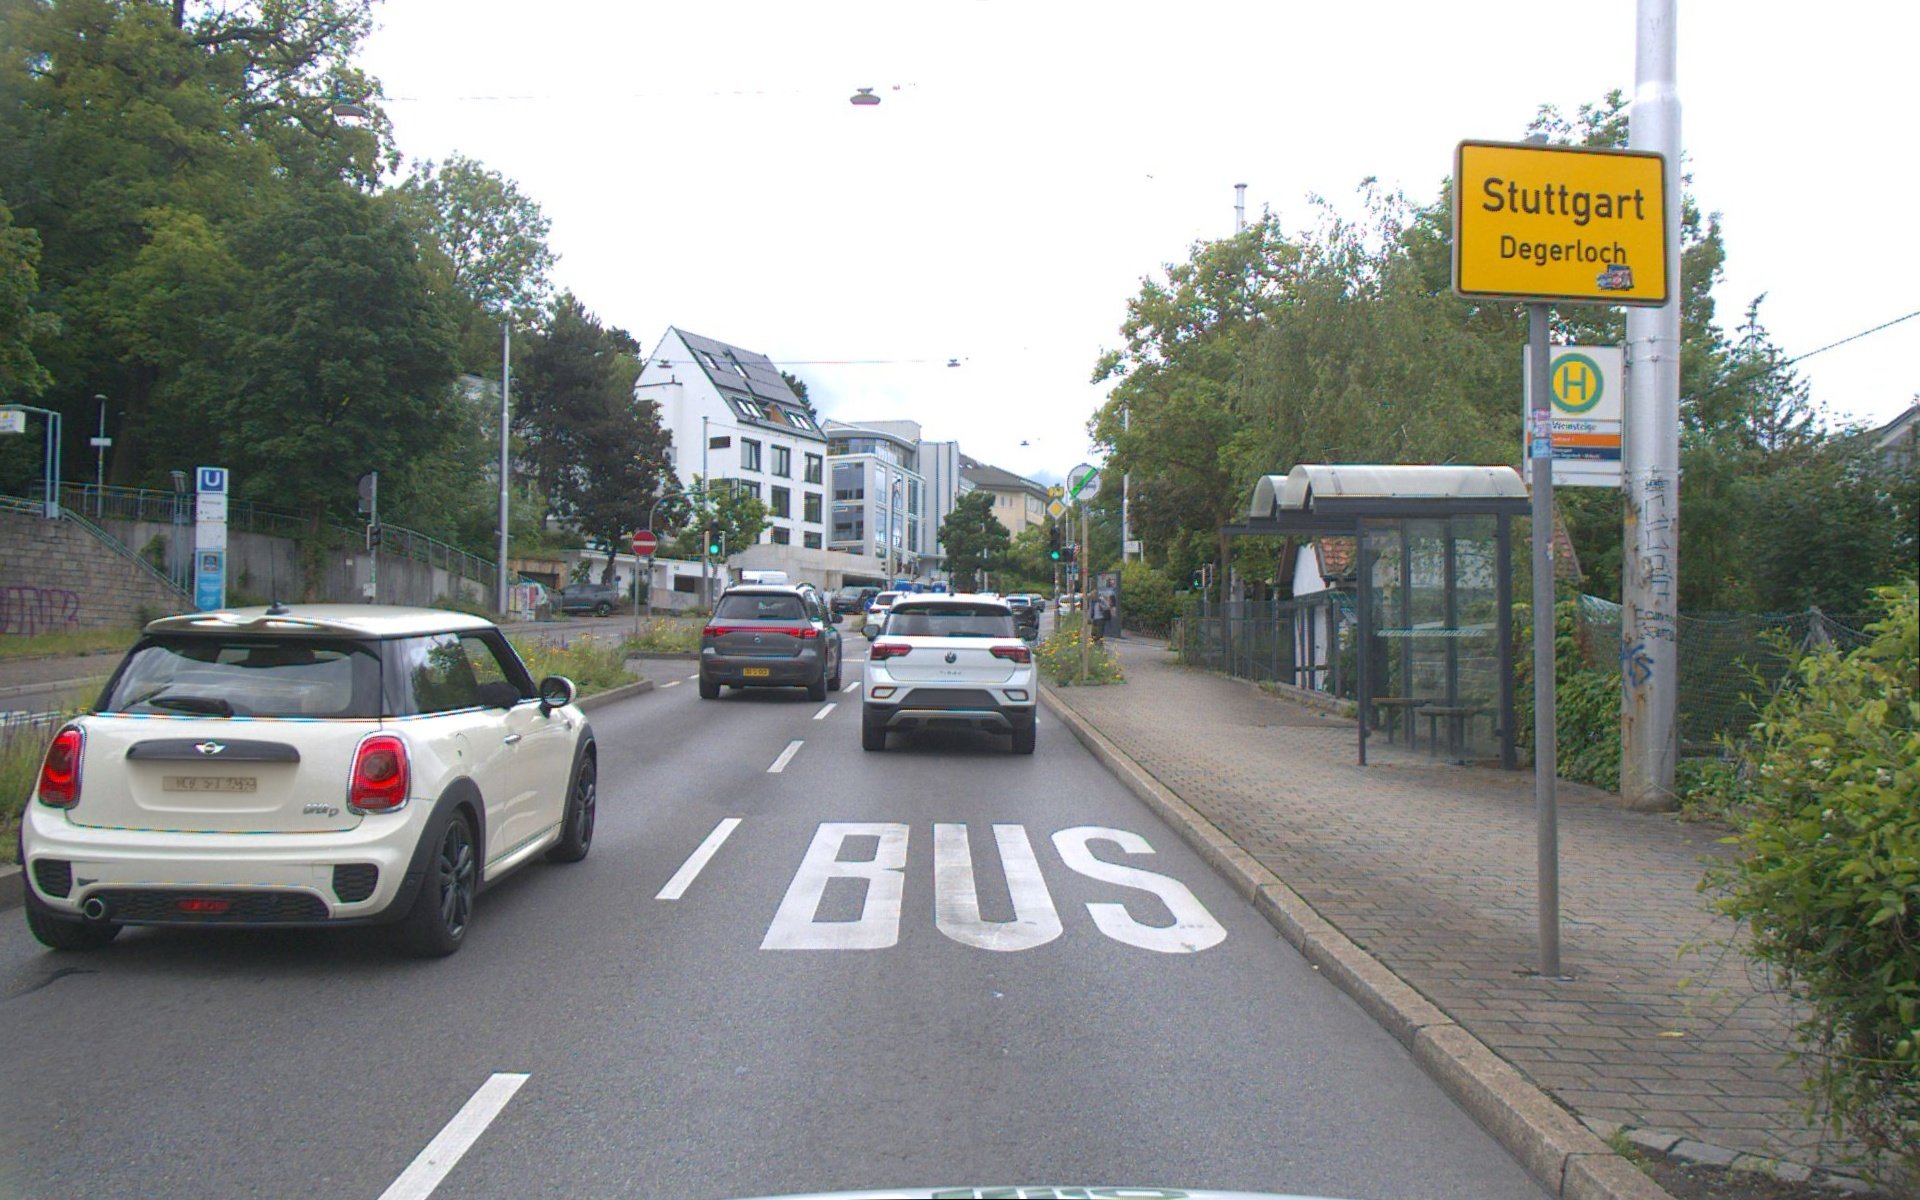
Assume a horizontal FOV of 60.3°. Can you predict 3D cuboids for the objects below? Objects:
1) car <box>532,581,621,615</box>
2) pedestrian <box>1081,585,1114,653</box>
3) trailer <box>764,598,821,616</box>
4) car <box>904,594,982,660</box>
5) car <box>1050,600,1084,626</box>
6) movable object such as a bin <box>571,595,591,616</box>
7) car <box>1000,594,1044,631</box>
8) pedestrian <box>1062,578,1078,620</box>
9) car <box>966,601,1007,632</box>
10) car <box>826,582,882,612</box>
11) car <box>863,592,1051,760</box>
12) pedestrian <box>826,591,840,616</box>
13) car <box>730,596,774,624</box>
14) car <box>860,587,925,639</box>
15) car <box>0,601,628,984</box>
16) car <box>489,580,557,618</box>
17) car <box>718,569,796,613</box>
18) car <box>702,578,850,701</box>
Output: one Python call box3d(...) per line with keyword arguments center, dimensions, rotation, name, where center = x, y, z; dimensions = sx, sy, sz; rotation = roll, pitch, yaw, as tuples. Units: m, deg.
box3d(center=(-18.276, -0.092, 78.955), dimensions=(4.044, 1.567, 1.595), rotation=(0, 0, -10), name="car")
box3d(center=(3.559, 0.495, 42.741), dimensions=(0.679, 1.718, 0.620), rotation=(-1, -1, 21), name="pedestrian")
box3d(center=(-10.884, 0.417, 107.640), dimensions=(2.198, 1.131, 4.626), rotation=(0, 0, 15), name="trailer")
box3d(center=(-0.394, 0.677, 43.236), dimensions=(1.835, 1.527, 4.555), rotation=(3, 0, 1), name="car")
box3d(center=(6.444, 0.784, 99.560), dimensions=(1.818, 1.527, 4.058), rotation=(0, 0, 6), name="car")
box3d(center=(-19.703, 0.295, 85.956), dimensions=(0.628, 1.029, 0.728), rotation=(1, 0, 35), name="movable object such as a bin")
box3d(center=(2.829, 0.575, 75.282), dimensions=(1.834, 1.527, 4.556), rotation=(3, 0, 2), name="car")
box3d(center=(4.949, -0.034, 74.396), dimensions=(0.678, 1.866, 0.620), rotation=(1, 0, 6), name="pedestrian")
box3d(center=(1.382, 0.843, 85.384), dimensions=(1.819, 1.527, 4.058), rotation=(0, 0, 5), name="car")
box3d(center=(-7.309, -0.208, 114.643), dimensions=(1.941, 2.001, 5.219), rotation=(0, 0, 20), name="car")
box3d(center=(-0.105, 0.714, 17.500), dimensions=(1.775, 1.566, 3.688), rotation=(0, 0, -3), name="car")
box3d(center=(-8.886, 0.247, 115.795), dimensions=(0.667, 1.669, 0.664), rotation=(2, 0, -33), name="pedestrian")
box3d(center=(-10.577, 0.496, 84.364), dimensions=(1.682, 1.418, 4.609), rotation=(0, 0, 0), name="car")
box3d(center=(-2.250, 0.425, 56.364), dimensions=(1.819, 1.681, 4.637), rotation=(0, 0, 2), name="car")
box3d(center=(-2.790, 0.724, 8.005), dimensions=(1.594, 1.418, 3.566), rotation=(0, 0, 1), name="car")
box3d(center=(-19.657, -0.048, 74.350), dimensions=(2.667, 1.547, 1.552), rotation=(4, -1, -25), name="car")
box3d(center=(-12.408, -0.543, 101.816), dimensions=(2.184, 2.613, 7.427), rotation=(0, 0, 15), name="car")
box3d(center=(-2.688, 0.541, 25.098), dimensions=(1.776, 1.681, 4.635), rotation=(0, 0, -1), name="car")
